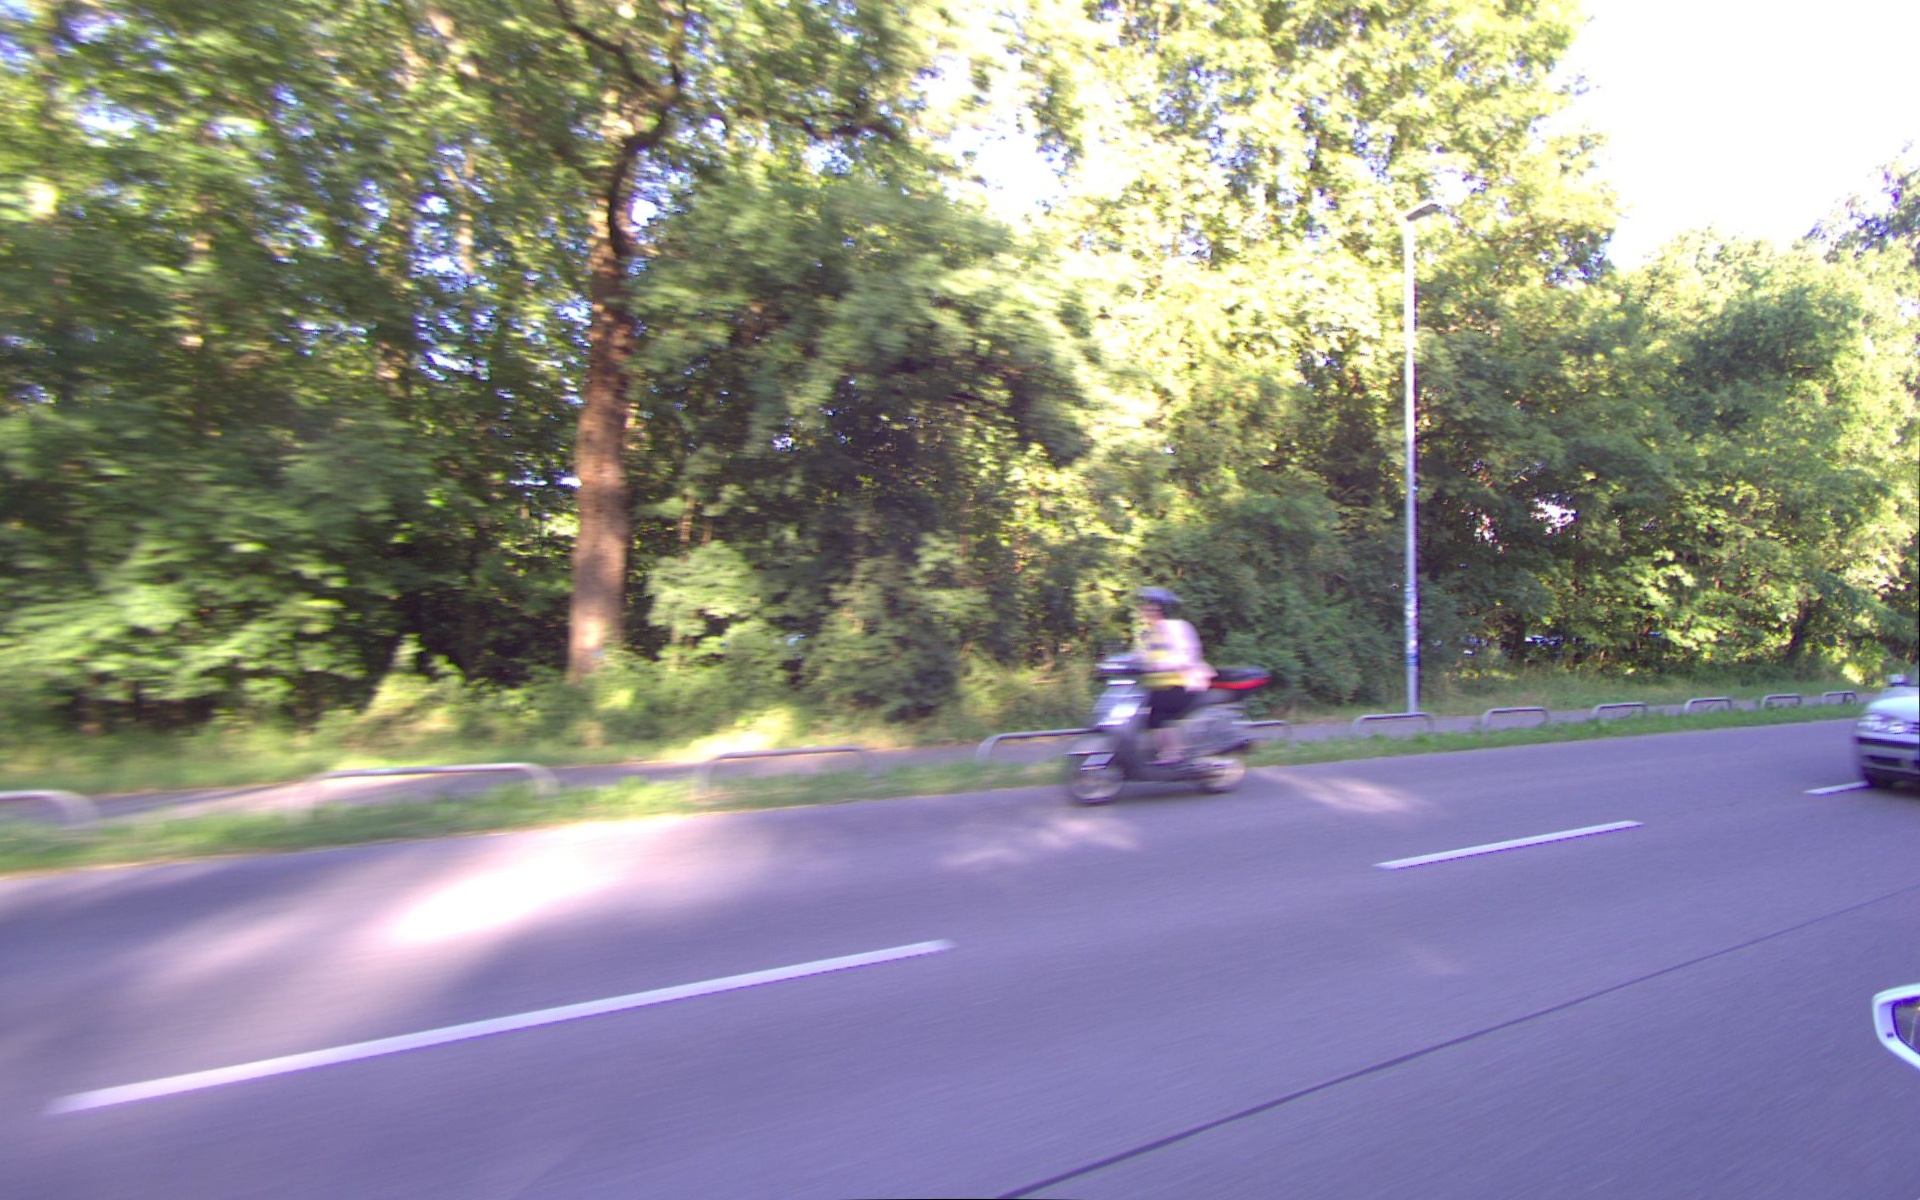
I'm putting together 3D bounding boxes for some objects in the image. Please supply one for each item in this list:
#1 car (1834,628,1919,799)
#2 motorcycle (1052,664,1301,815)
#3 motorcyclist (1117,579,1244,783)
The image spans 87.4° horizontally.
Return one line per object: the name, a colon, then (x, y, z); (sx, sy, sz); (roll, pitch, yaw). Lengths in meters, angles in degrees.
car: (9.900, 1.009, 9.246); (3.845, 1.425, 1.673); (1, 0, -31)
motorcycle: (1.754, 1.049, 7.989); (2.053, 1.008, 0.633); (1, 0, -31)
motorcyclist: (1.748, 0.616, 7.984); (0.664, 1.525, 0.721); (1, -1, -30)
